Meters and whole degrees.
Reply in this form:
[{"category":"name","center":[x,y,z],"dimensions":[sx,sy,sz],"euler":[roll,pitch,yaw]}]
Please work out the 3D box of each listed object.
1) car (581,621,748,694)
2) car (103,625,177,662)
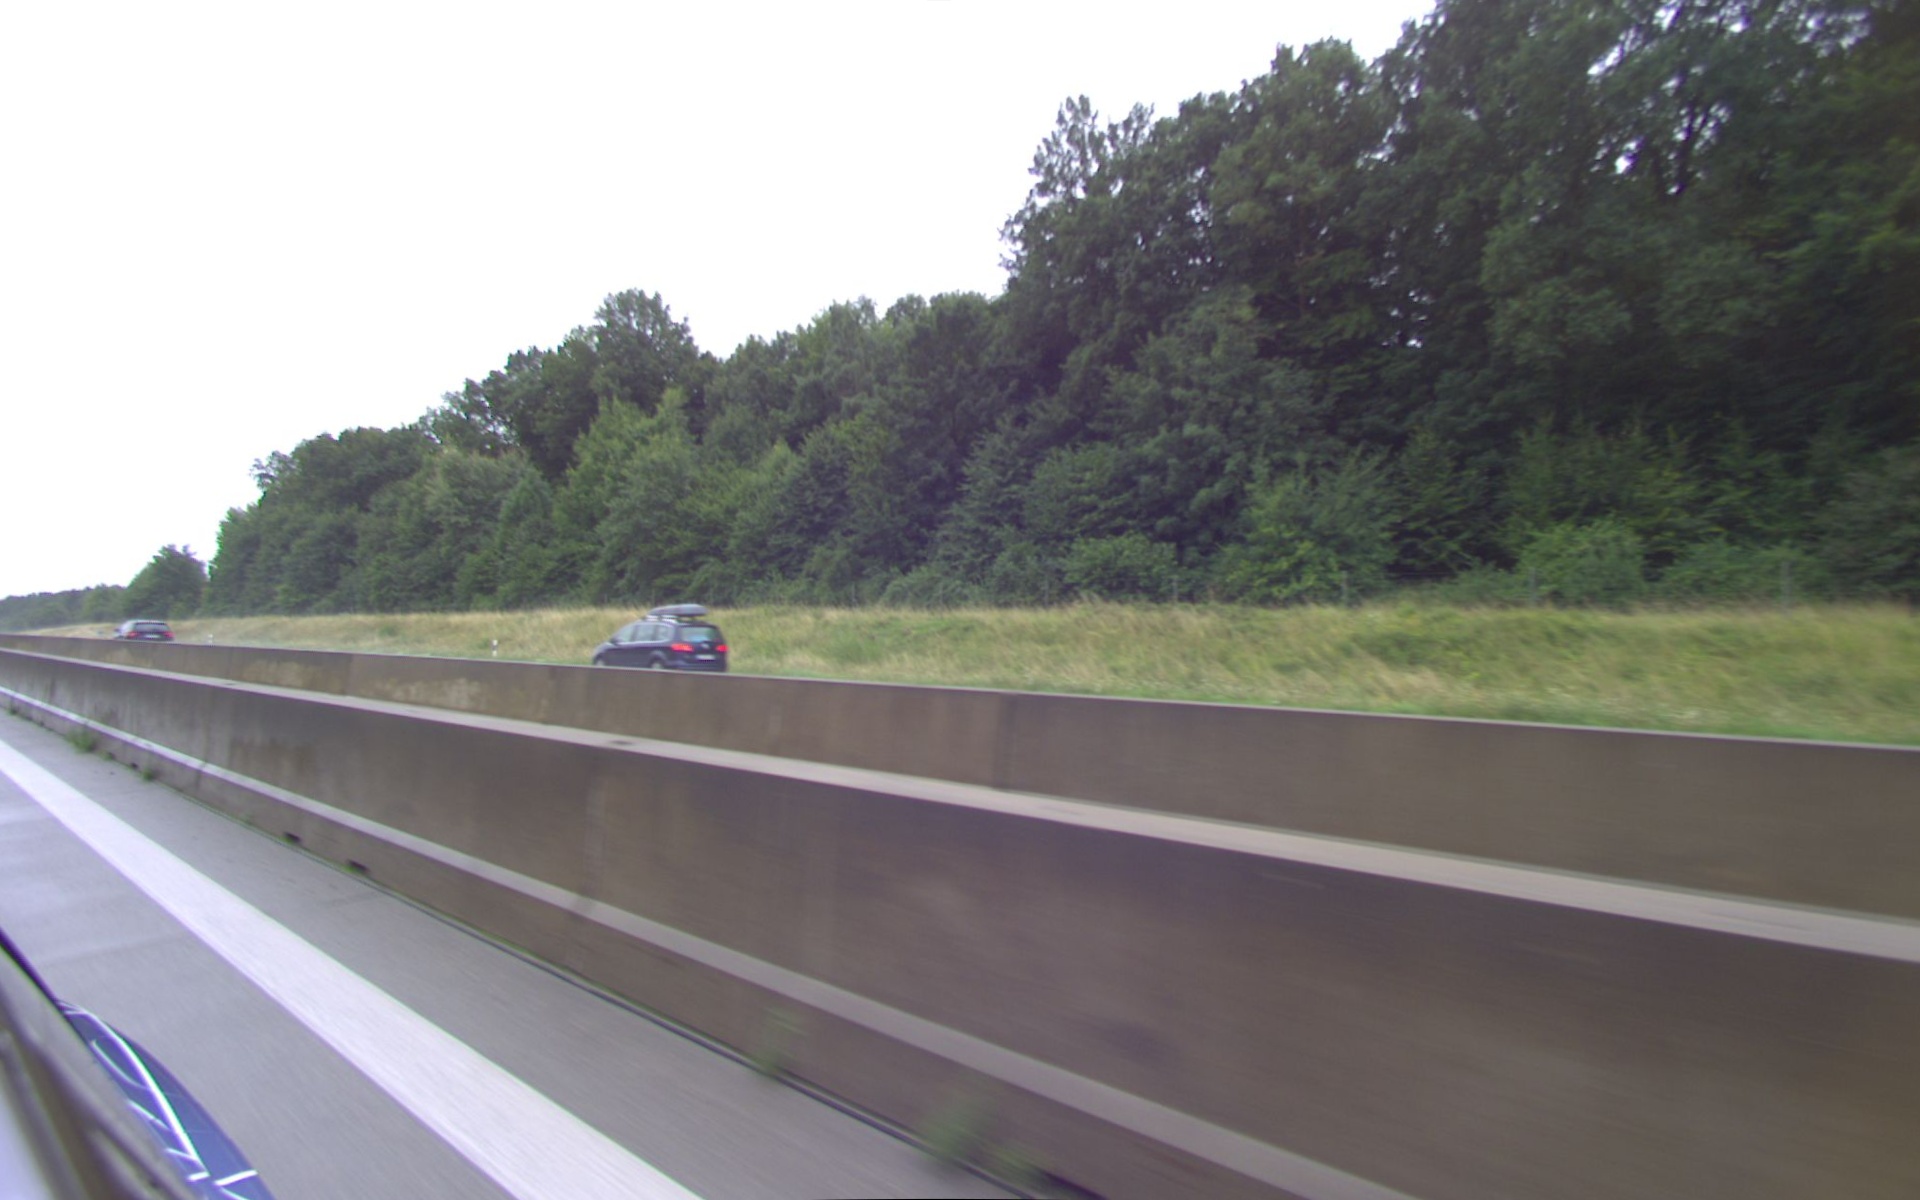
[{"category":"car","center":[-8.078,1.492,27.483],"dimensions":[4.849,1.816,2.039],"euler":[-1,-3,41]},{"category":"car","center":[-38.375,1.997,47.307],"dimensions":[4.851,1.622,1.947],"euler":[-1,-2,42]}]
